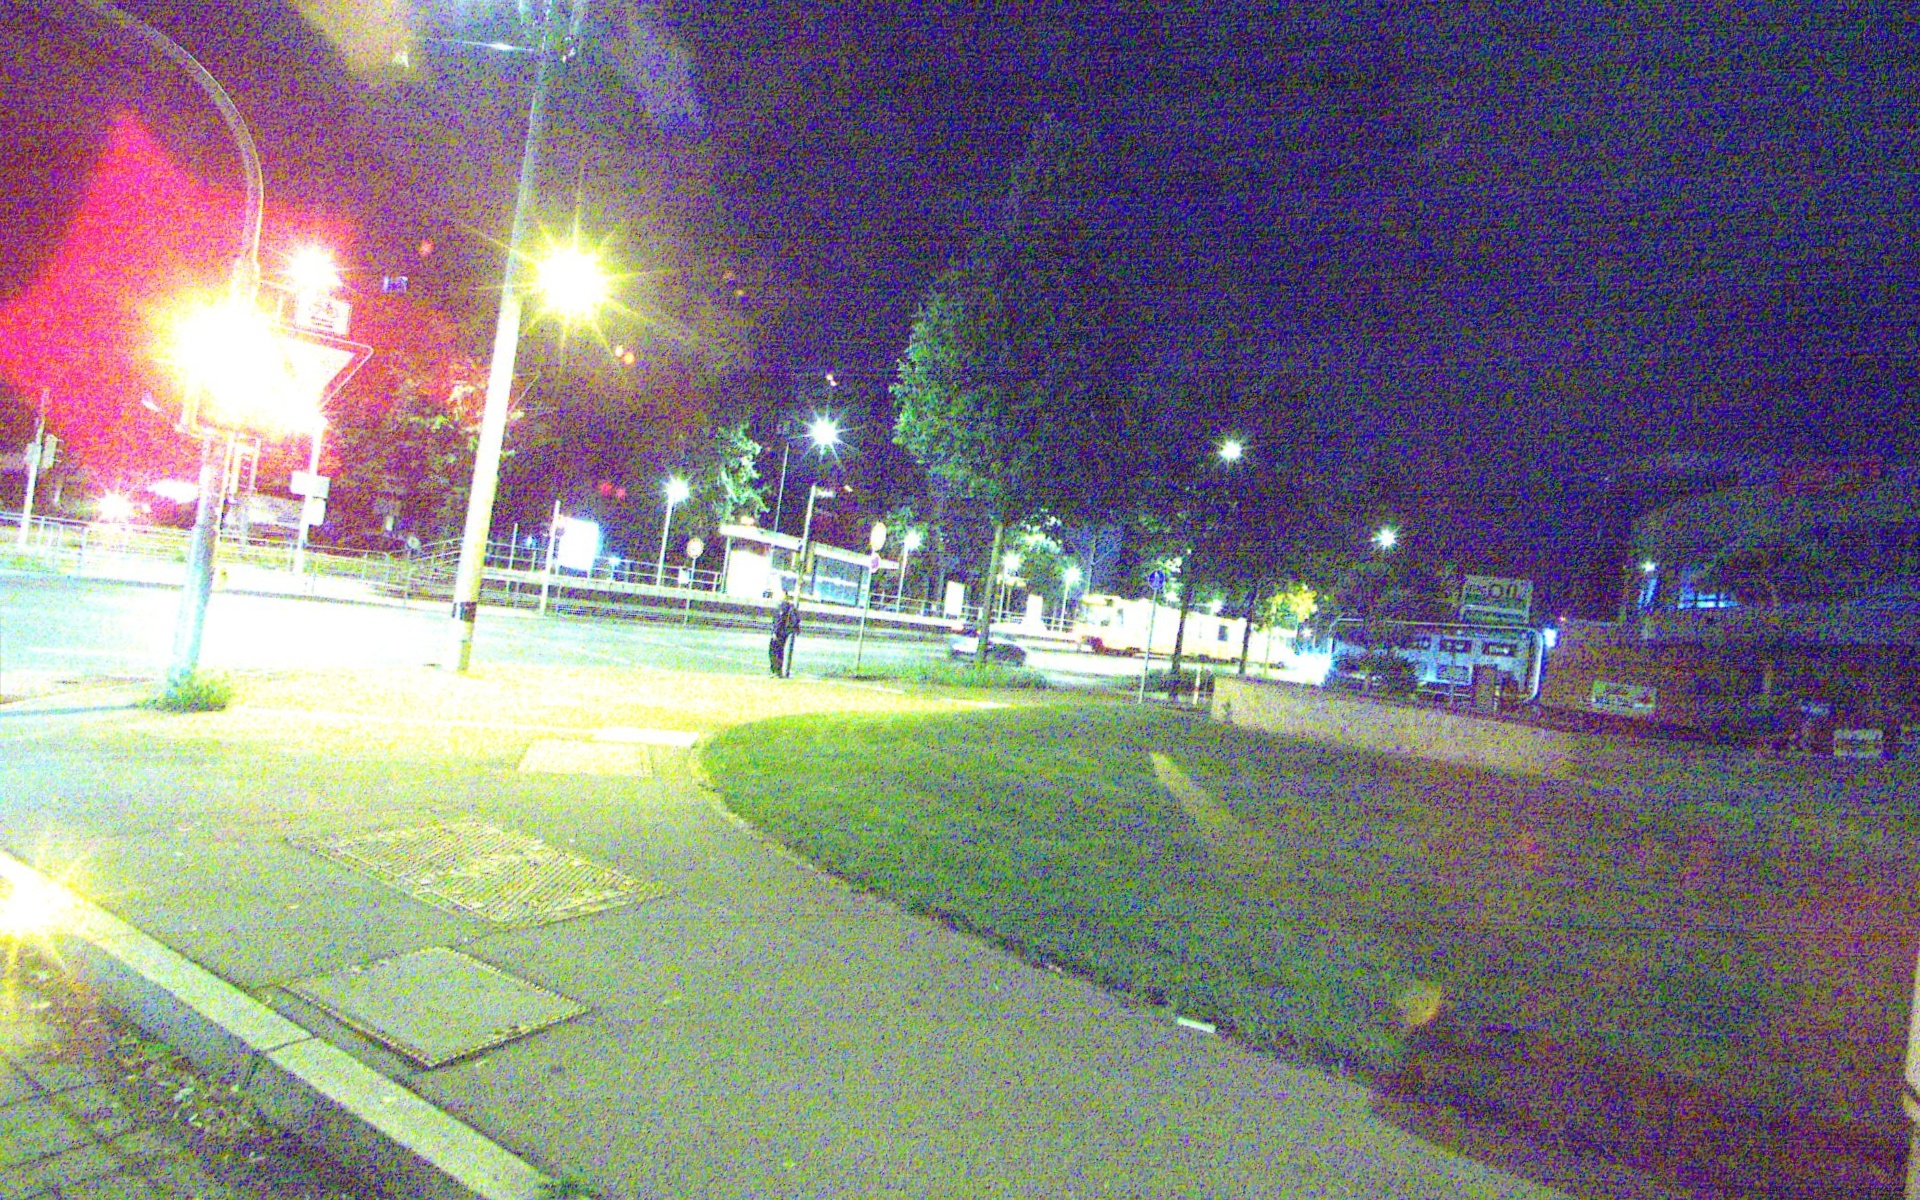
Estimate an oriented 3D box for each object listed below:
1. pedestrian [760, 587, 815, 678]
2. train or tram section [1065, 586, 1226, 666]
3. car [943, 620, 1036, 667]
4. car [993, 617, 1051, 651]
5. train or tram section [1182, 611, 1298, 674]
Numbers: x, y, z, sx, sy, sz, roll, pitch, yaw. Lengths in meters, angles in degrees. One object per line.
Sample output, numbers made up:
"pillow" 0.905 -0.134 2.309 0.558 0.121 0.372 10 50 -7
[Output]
"pedestrian" -3.335 0.617 19.422 0.867 1.677 0.835 2 1 -18
"train or tram section" 13.183 2.034 68.619 2.918 3.896 18.427 8 0 35
"car" 1.152 1.644 37.660 1.617 1.438 3.687 7 0 35
"car" 4.543 2.489 72.849 1.814 1.865 4.787 5 -3 35
"train or tram section" 23.778 3.796 83.980 2.919 3.894 18.866 5 -2 35
